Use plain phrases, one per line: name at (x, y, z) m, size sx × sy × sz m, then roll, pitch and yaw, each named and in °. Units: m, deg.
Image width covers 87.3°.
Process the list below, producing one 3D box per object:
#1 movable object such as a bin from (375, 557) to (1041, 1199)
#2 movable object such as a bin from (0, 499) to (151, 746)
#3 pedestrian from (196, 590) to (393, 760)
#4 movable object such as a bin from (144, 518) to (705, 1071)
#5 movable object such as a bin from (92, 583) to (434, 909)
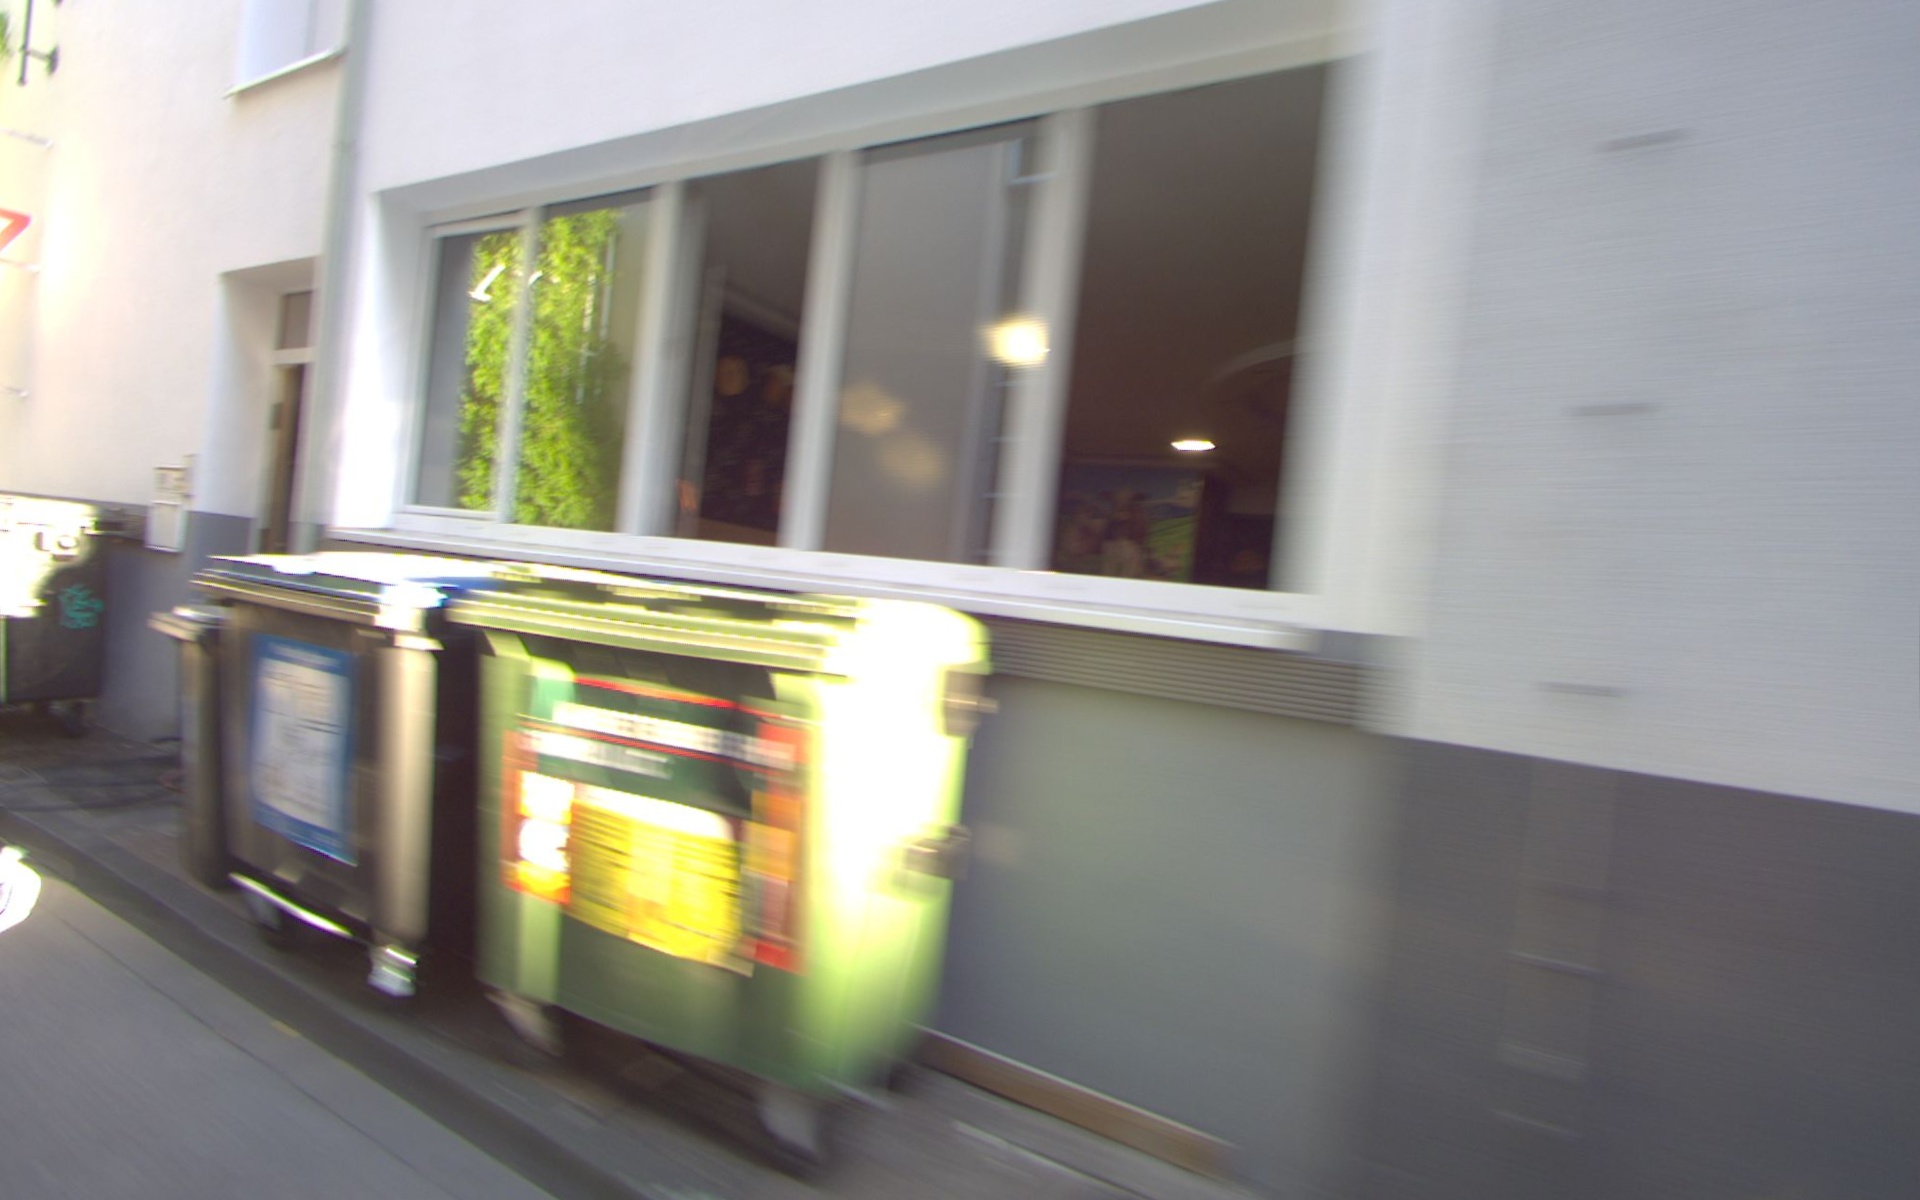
movable object such as a bin at (-0.629, 0.658, 2.658) m, size 1.318 × 1.385 × 0.938 m, roll 6°, pitch 2°, yaw 25°
movable object such as a bin at (-5.561, 0.083, 5.956) m, size 1.269 × 1.322 × 0.835 m, roll 7°, pitch 2°, yaw 35°
pedestrian at (-3.769, 0.420, 5.708) m, size 0.708 × 0.819 × 0.609 m, roll 8°, pitch -1°, yaw 31°
movable object such as a bin at (-1.782, 0.503, 3.405) m, size 1.319 × 1.385 × 1.065 m, roll 6°, pitch 2°, yaw 29°
movable object such as a bin at (-2.795, 0.526, 4.078) m, size 0.726 × 1.089 × 0.869 m, roll 7°, pitch 2°, yaw 30°
